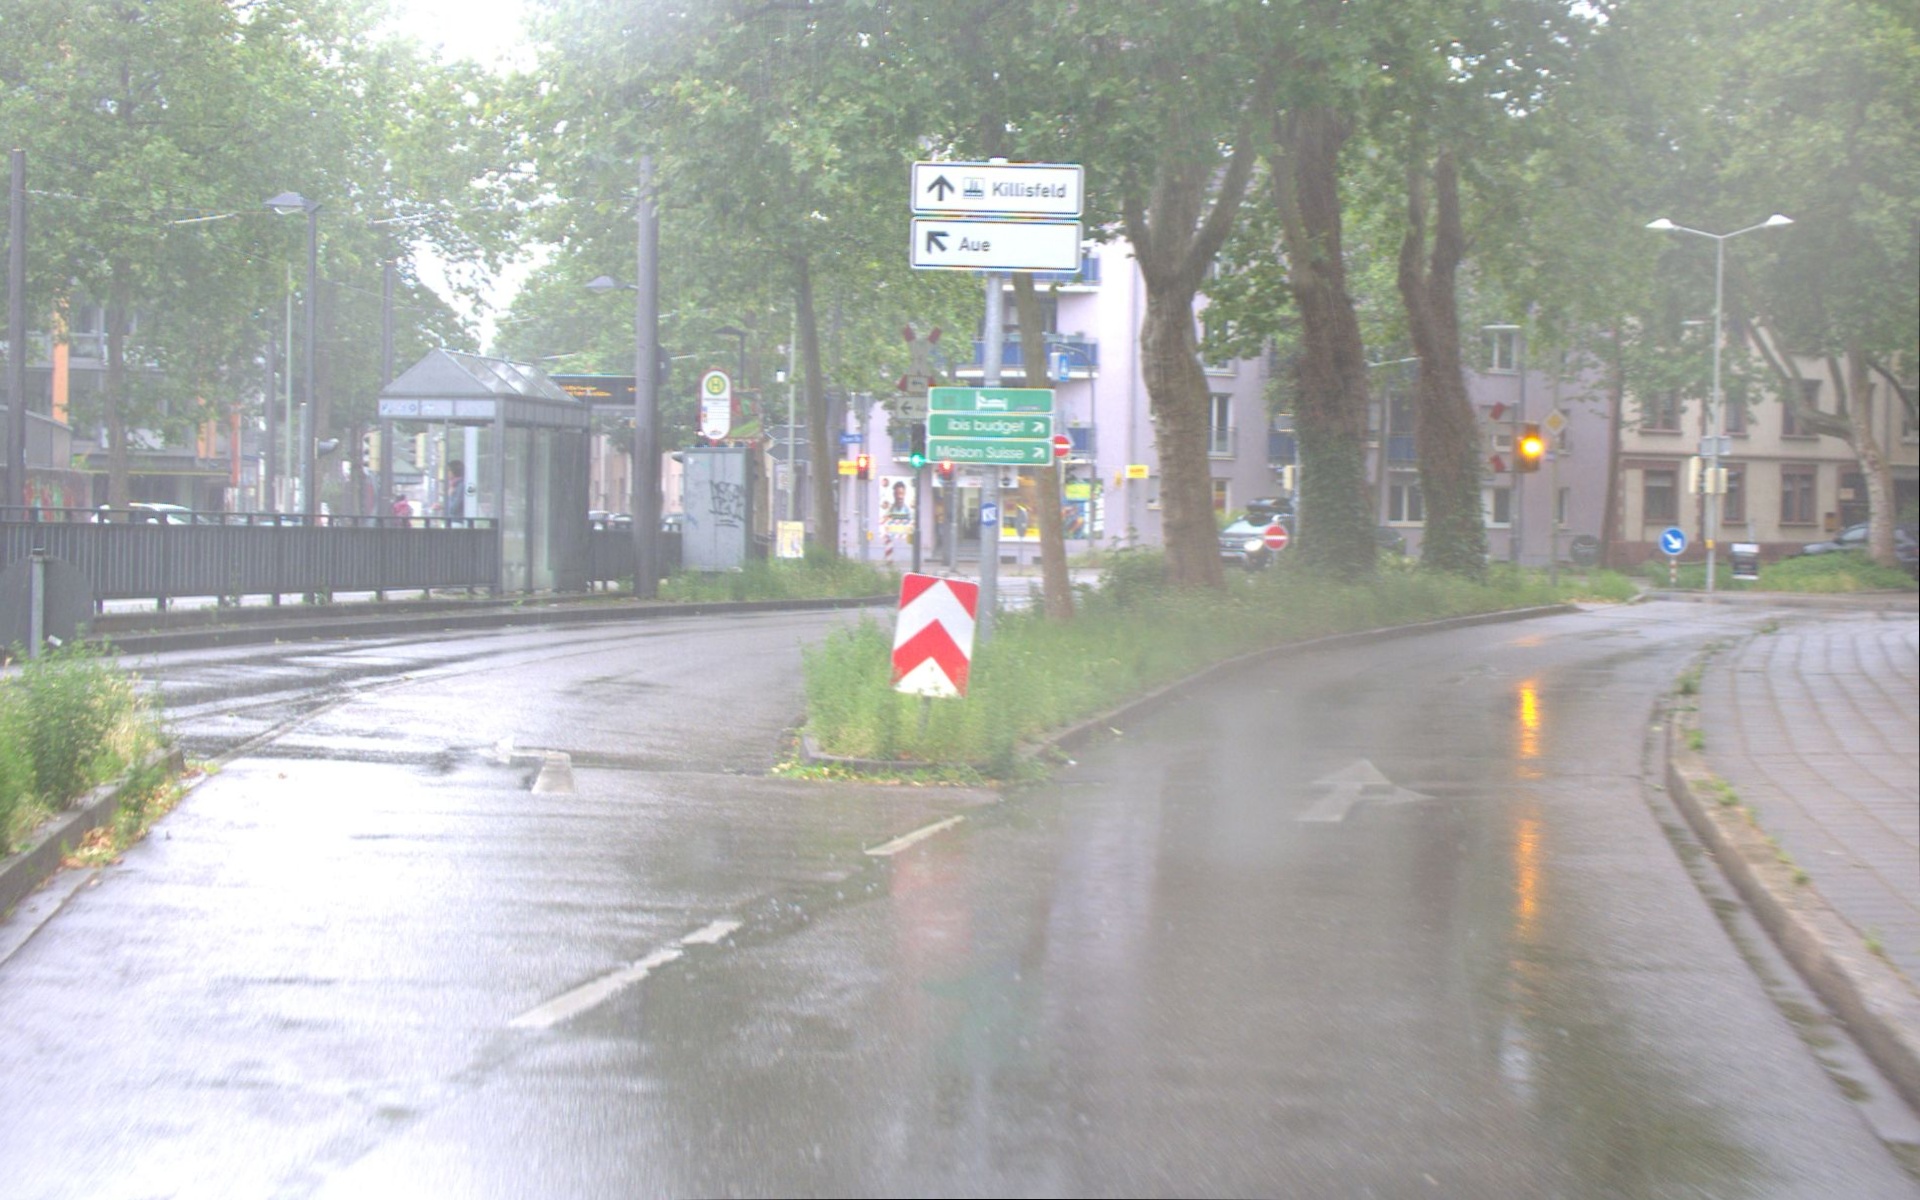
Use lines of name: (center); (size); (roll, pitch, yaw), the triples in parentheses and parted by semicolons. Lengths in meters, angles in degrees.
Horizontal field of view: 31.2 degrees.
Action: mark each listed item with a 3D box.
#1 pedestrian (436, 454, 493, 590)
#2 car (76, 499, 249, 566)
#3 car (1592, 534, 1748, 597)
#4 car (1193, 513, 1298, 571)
pedestrian: (-6.349, -1.002, 44.015); (0.581, 1.725, 0.568); (-1, 1, -23)
car: (-20.193, -1.690, 87.052); (4.013, 1.646, 1.969); (0, 1, 31)
car: (17.511, -0.855, 84.781); (3.484, 1.518, 1.517); (0, 1, 28)
car: (7.865, -1.604, 94.423); (1.727, 1.547, 3.555); (0, 1, 25)
